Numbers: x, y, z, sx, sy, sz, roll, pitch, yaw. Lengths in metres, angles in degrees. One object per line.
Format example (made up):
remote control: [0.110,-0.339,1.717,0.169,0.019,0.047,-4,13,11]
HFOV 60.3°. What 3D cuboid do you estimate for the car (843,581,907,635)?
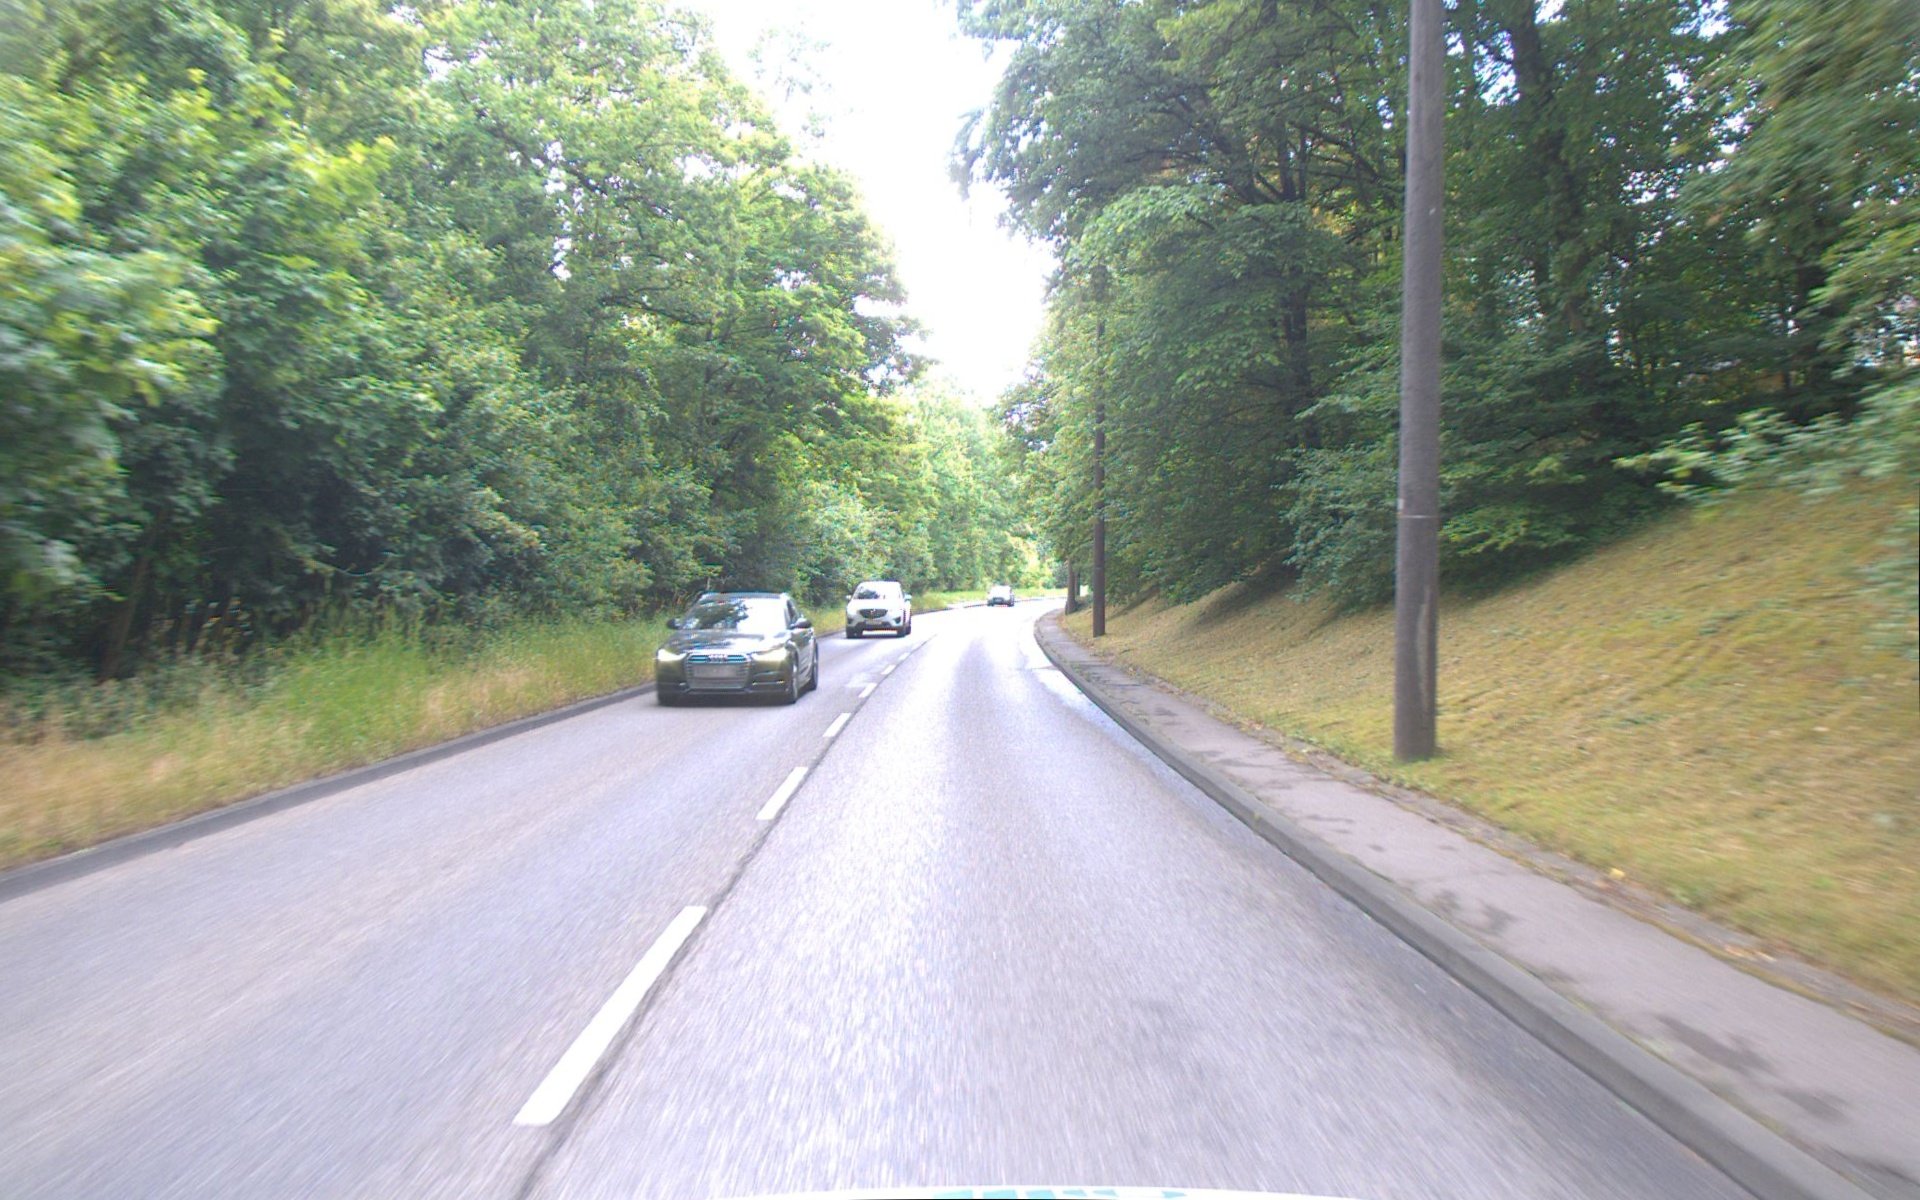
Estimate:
car: [-2.611,0.220,51.906,1.903,1.609,4.439,0,0,-2]

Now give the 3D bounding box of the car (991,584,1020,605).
car: [3.396,-0.438,124.250,1.953,1.569,3.999,0,0,-2]

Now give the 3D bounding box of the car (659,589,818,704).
car: [-2.983,0.581,22.992,1.773,1.445,3.999,0,0,-2]
